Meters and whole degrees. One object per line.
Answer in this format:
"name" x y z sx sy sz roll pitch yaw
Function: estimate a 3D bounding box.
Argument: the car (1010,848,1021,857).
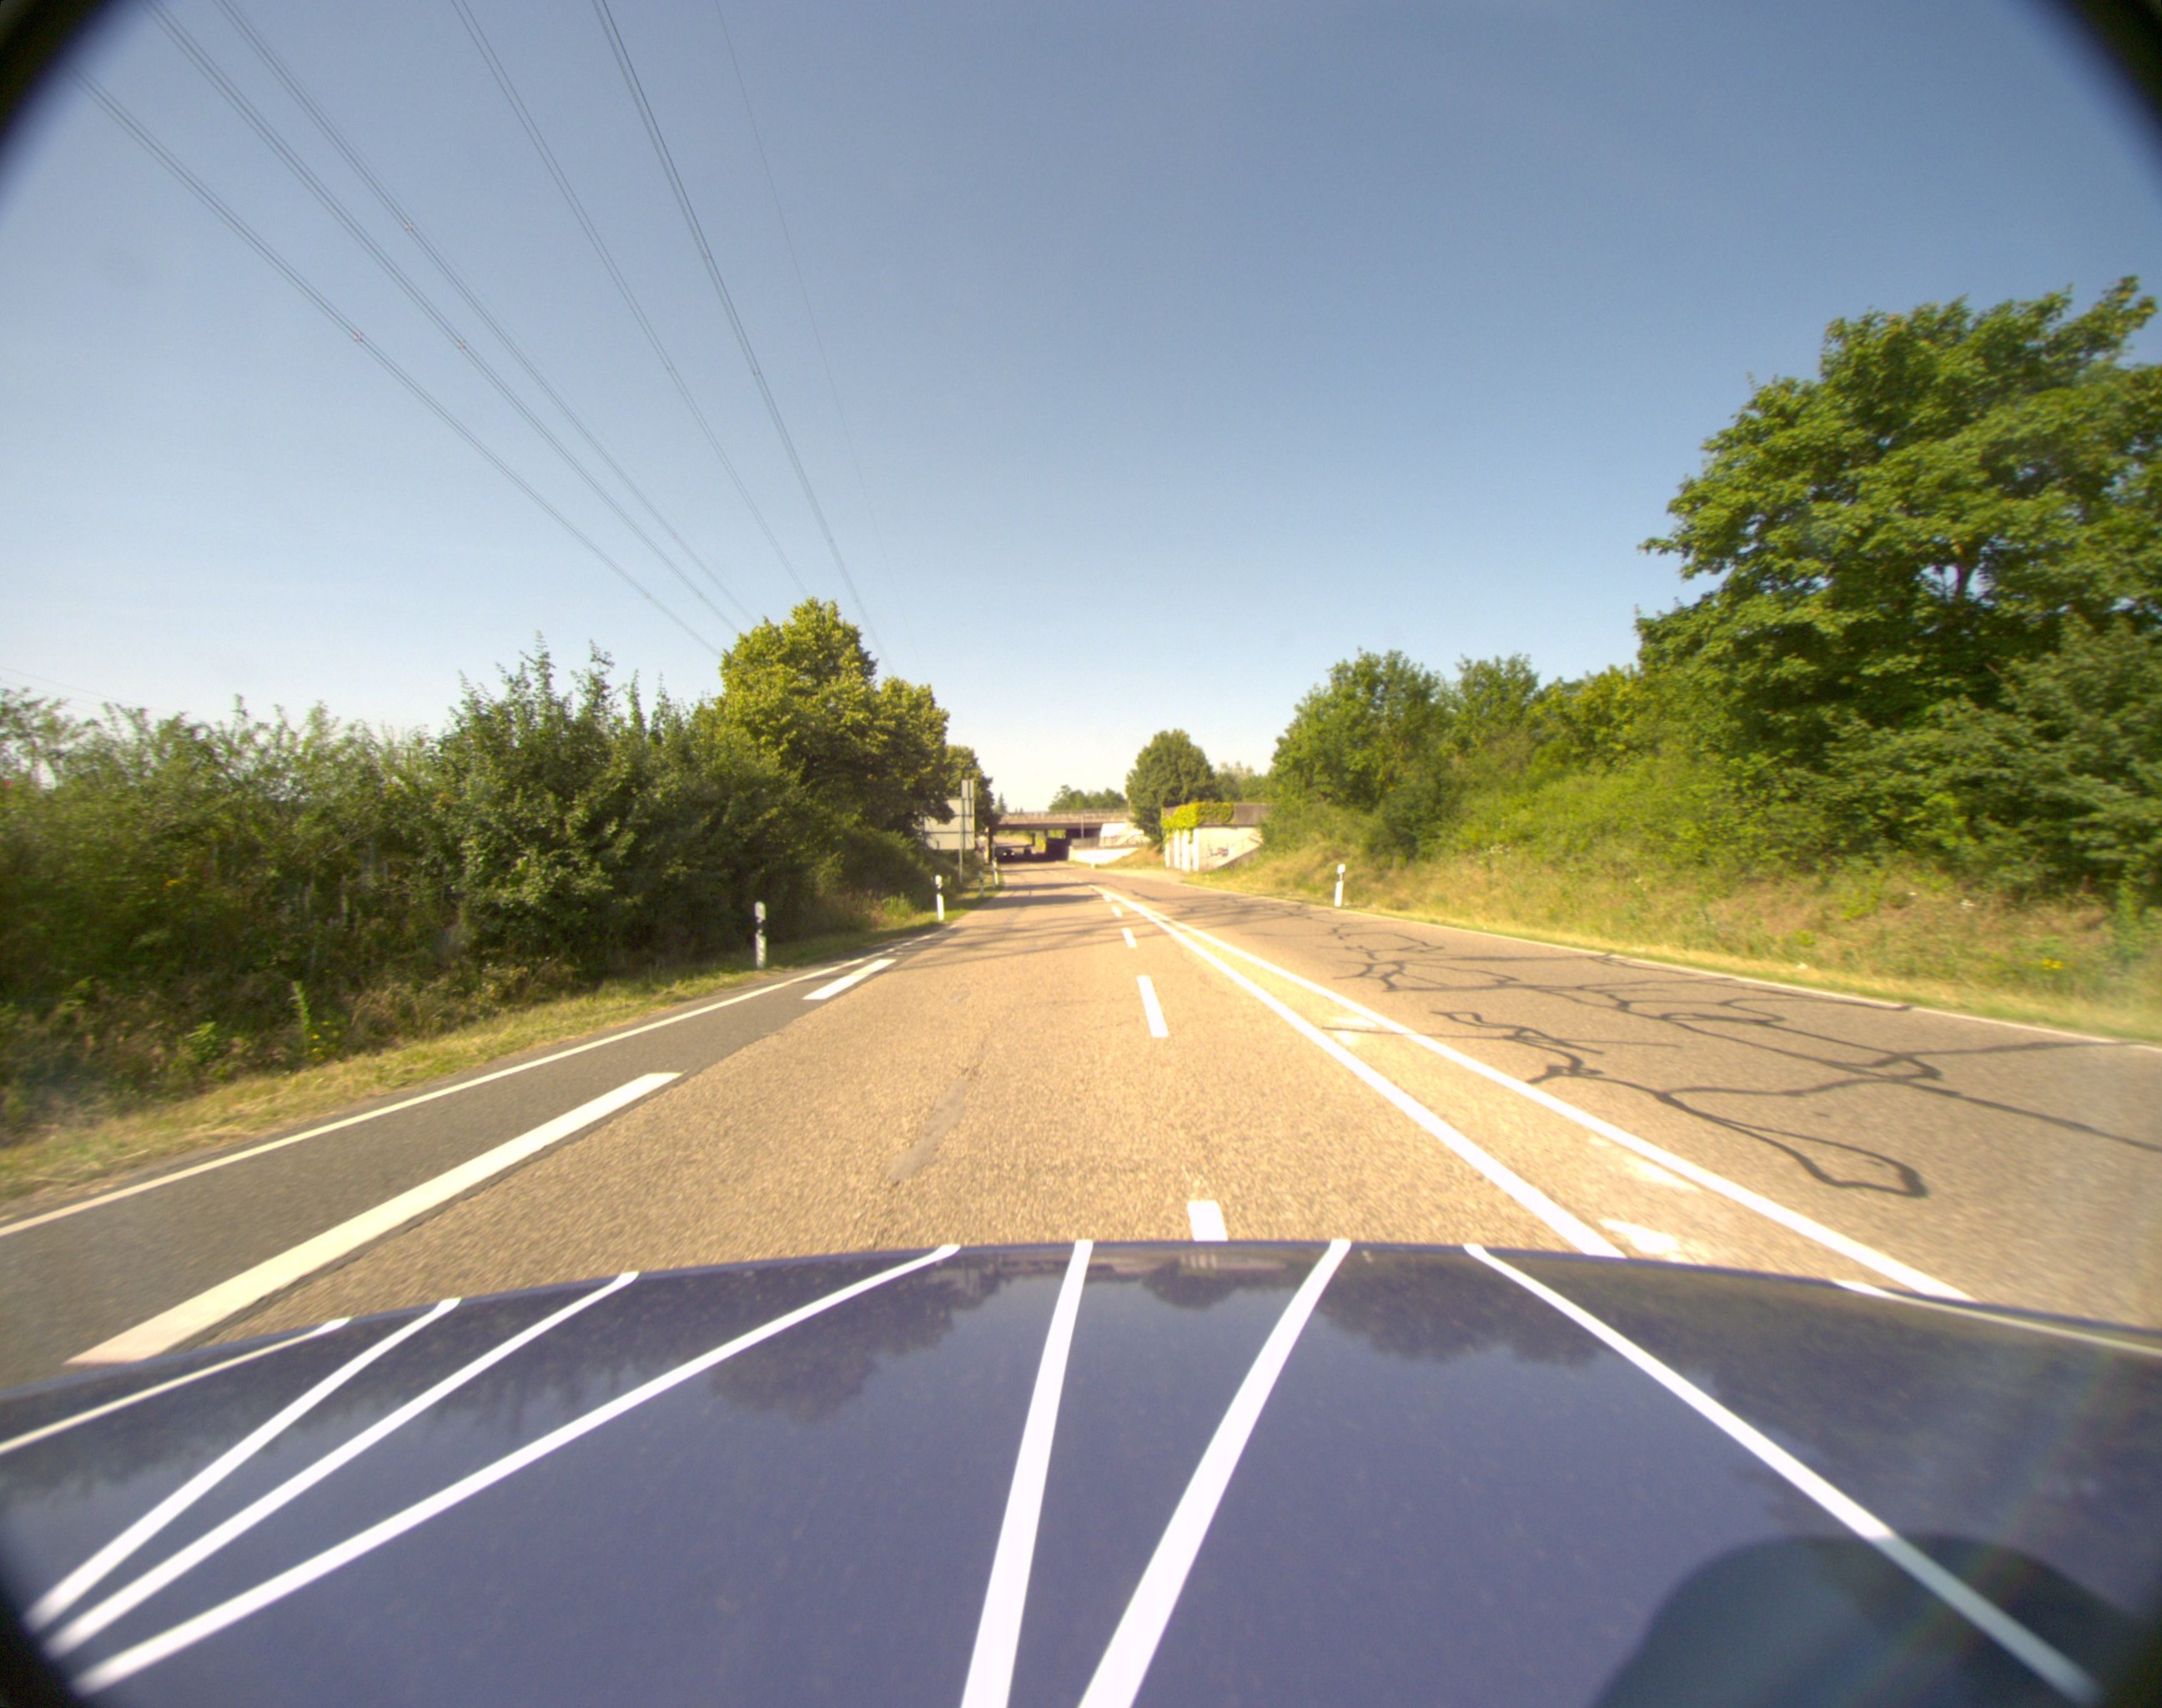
"car" -12.095 -0.317 139.465 1.861 1.610 3.645 -1 0 -7
